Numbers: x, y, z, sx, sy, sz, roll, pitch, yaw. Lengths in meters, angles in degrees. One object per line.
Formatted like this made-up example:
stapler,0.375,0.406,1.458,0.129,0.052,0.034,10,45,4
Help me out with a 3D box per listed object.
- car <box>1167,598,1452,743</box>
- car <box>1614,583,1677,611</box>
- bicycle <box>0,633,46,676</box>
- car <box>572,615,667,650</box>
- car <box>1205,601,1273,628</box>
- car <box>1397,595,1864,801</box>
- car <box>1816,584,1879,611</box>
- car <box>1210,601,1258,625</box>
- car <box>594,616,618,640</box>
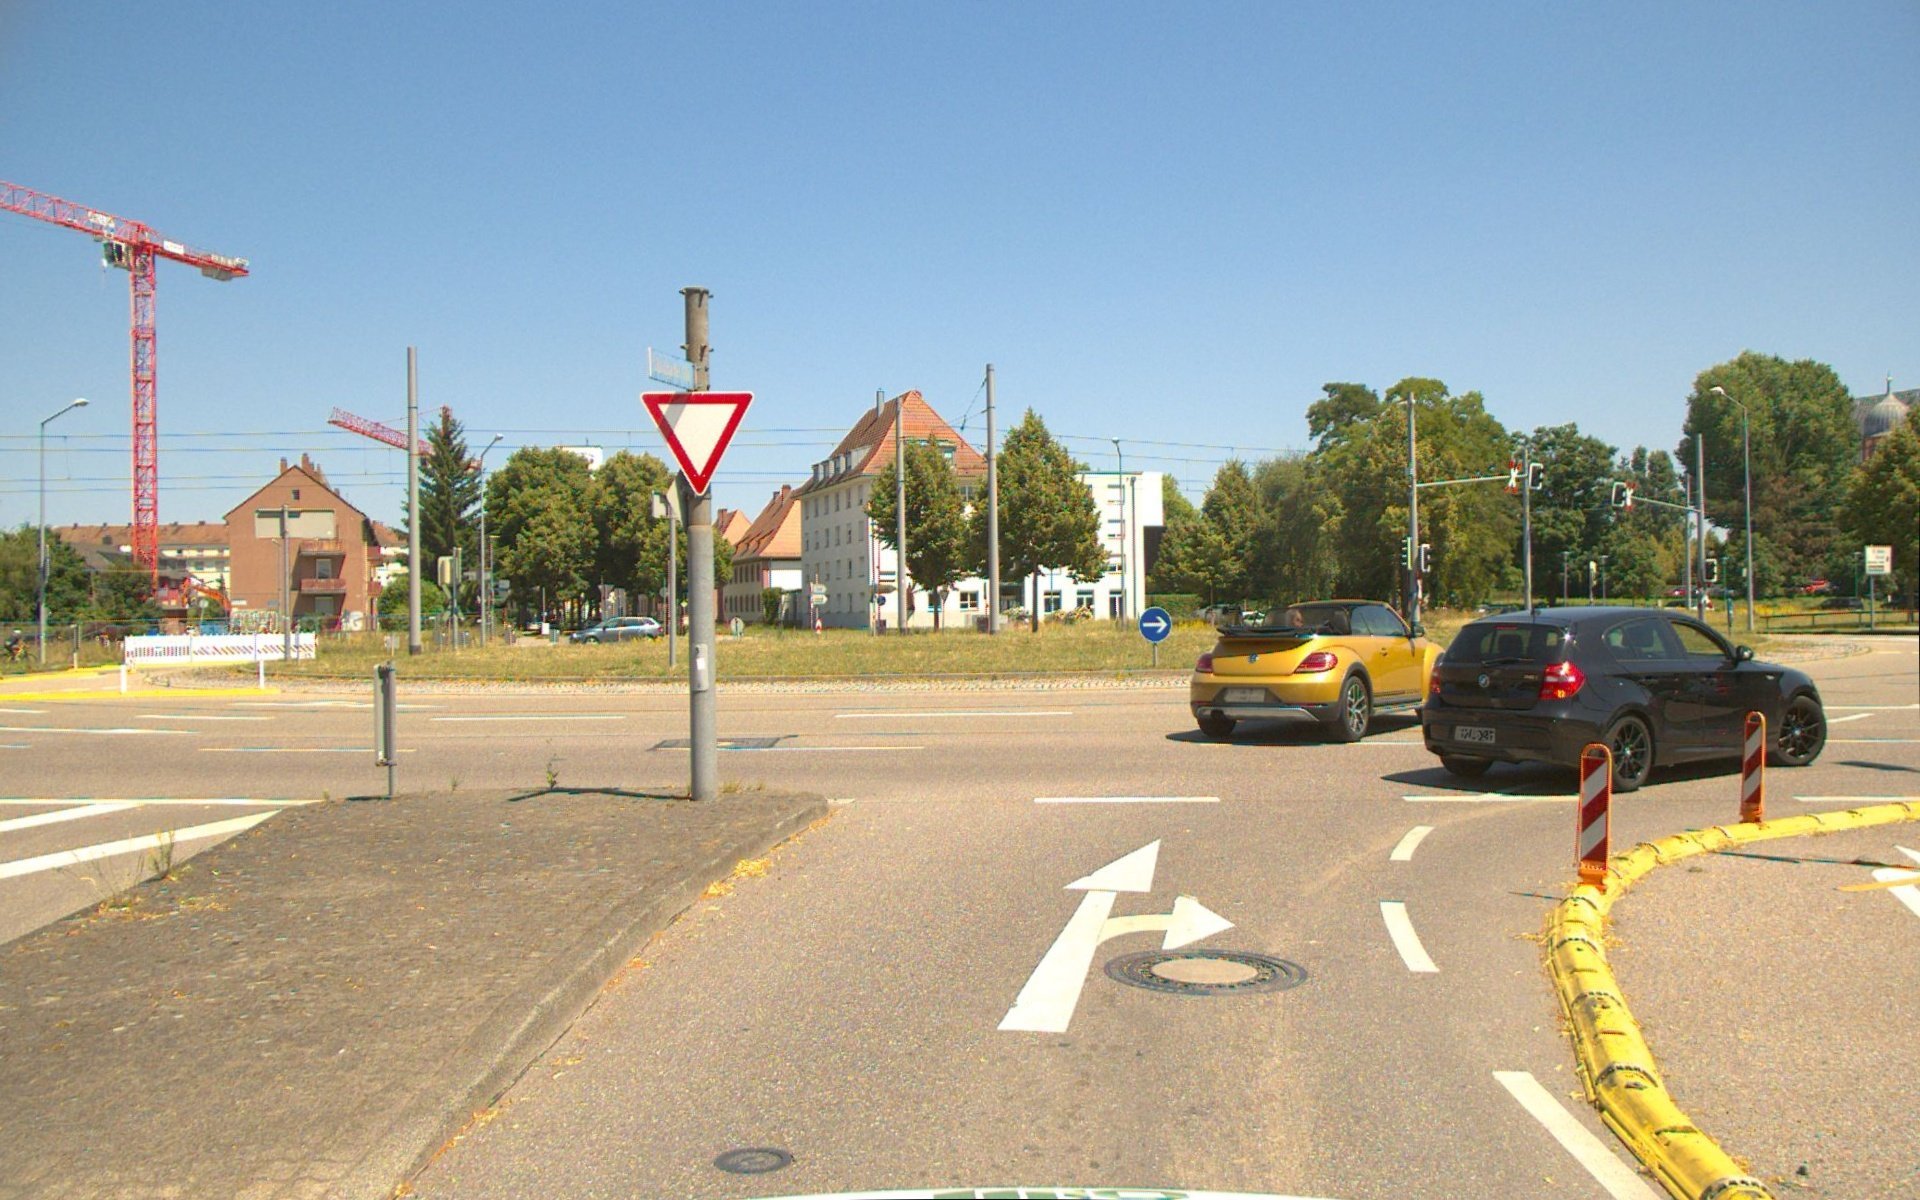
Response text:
car,3.956,0.703,18.330,1.795,1.427,3.648,0,0,36
car,51.238,-0.236,123.651,3.925,2.049,1.990,0,-1,40
bicycle,-39.051,2.243,68.598,0.547,1.714,2.085,0,-1,22
car,-15.177,1.441,73.613,3.927,1.490,1.989,1,-1,-20
car,18.183,0.923,107.835,3.917,1.713,1.994,1,-1,-12
car,5.774,0.721,14.124,3.950,1.465,1.782,-1,1,-33
car,67.146,-0.178,125.102,3.925,2.049,1.990,0,-1,40
car,24.034,1.126,145.071,3.902,2.049,2.001,0,-1,15
car,-30.504,2.422,142.588,1.959,2.049,3.987,1,-1,-12
